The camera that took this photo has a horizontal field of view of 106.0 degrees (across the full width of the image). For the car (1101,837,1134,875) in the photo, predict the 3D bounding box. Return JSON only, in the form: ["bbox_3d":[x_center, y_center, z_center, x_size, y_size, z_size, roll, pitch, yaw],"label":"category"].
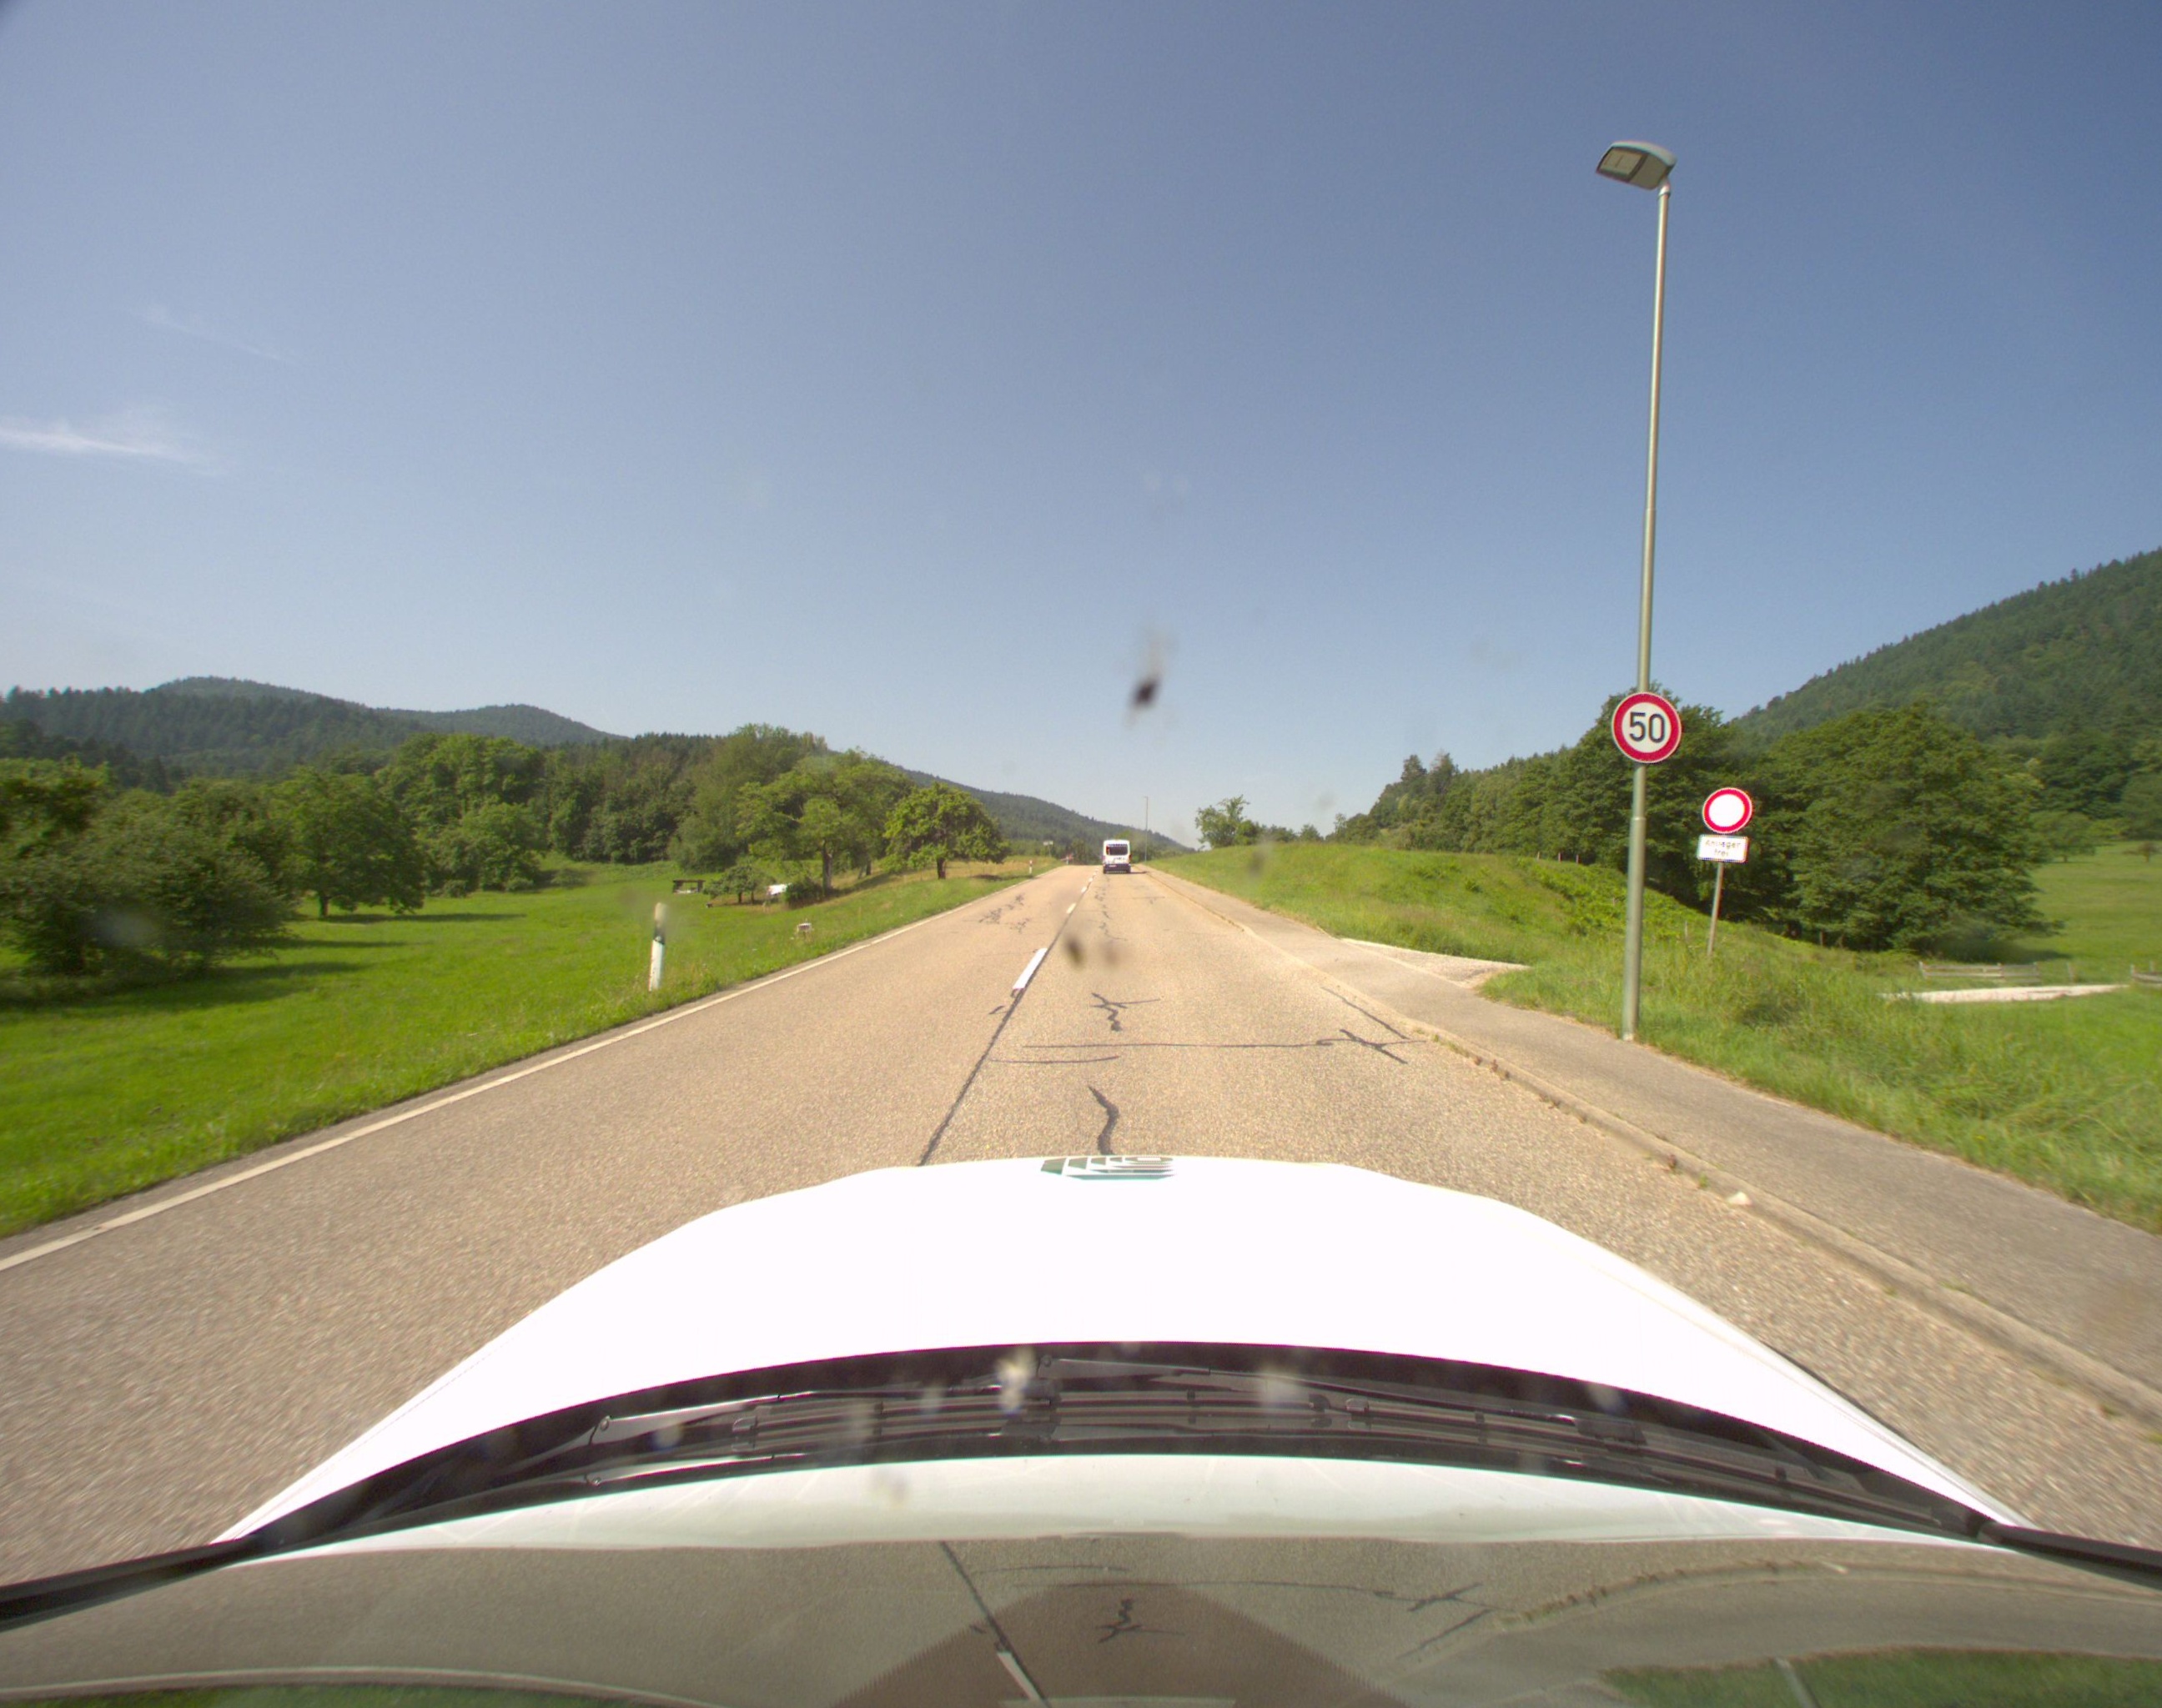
[{"bbox_3d":[2.675,0.205,60.543,2.214,2.526,4.985,-3,-2,2],"label":"car"}]
